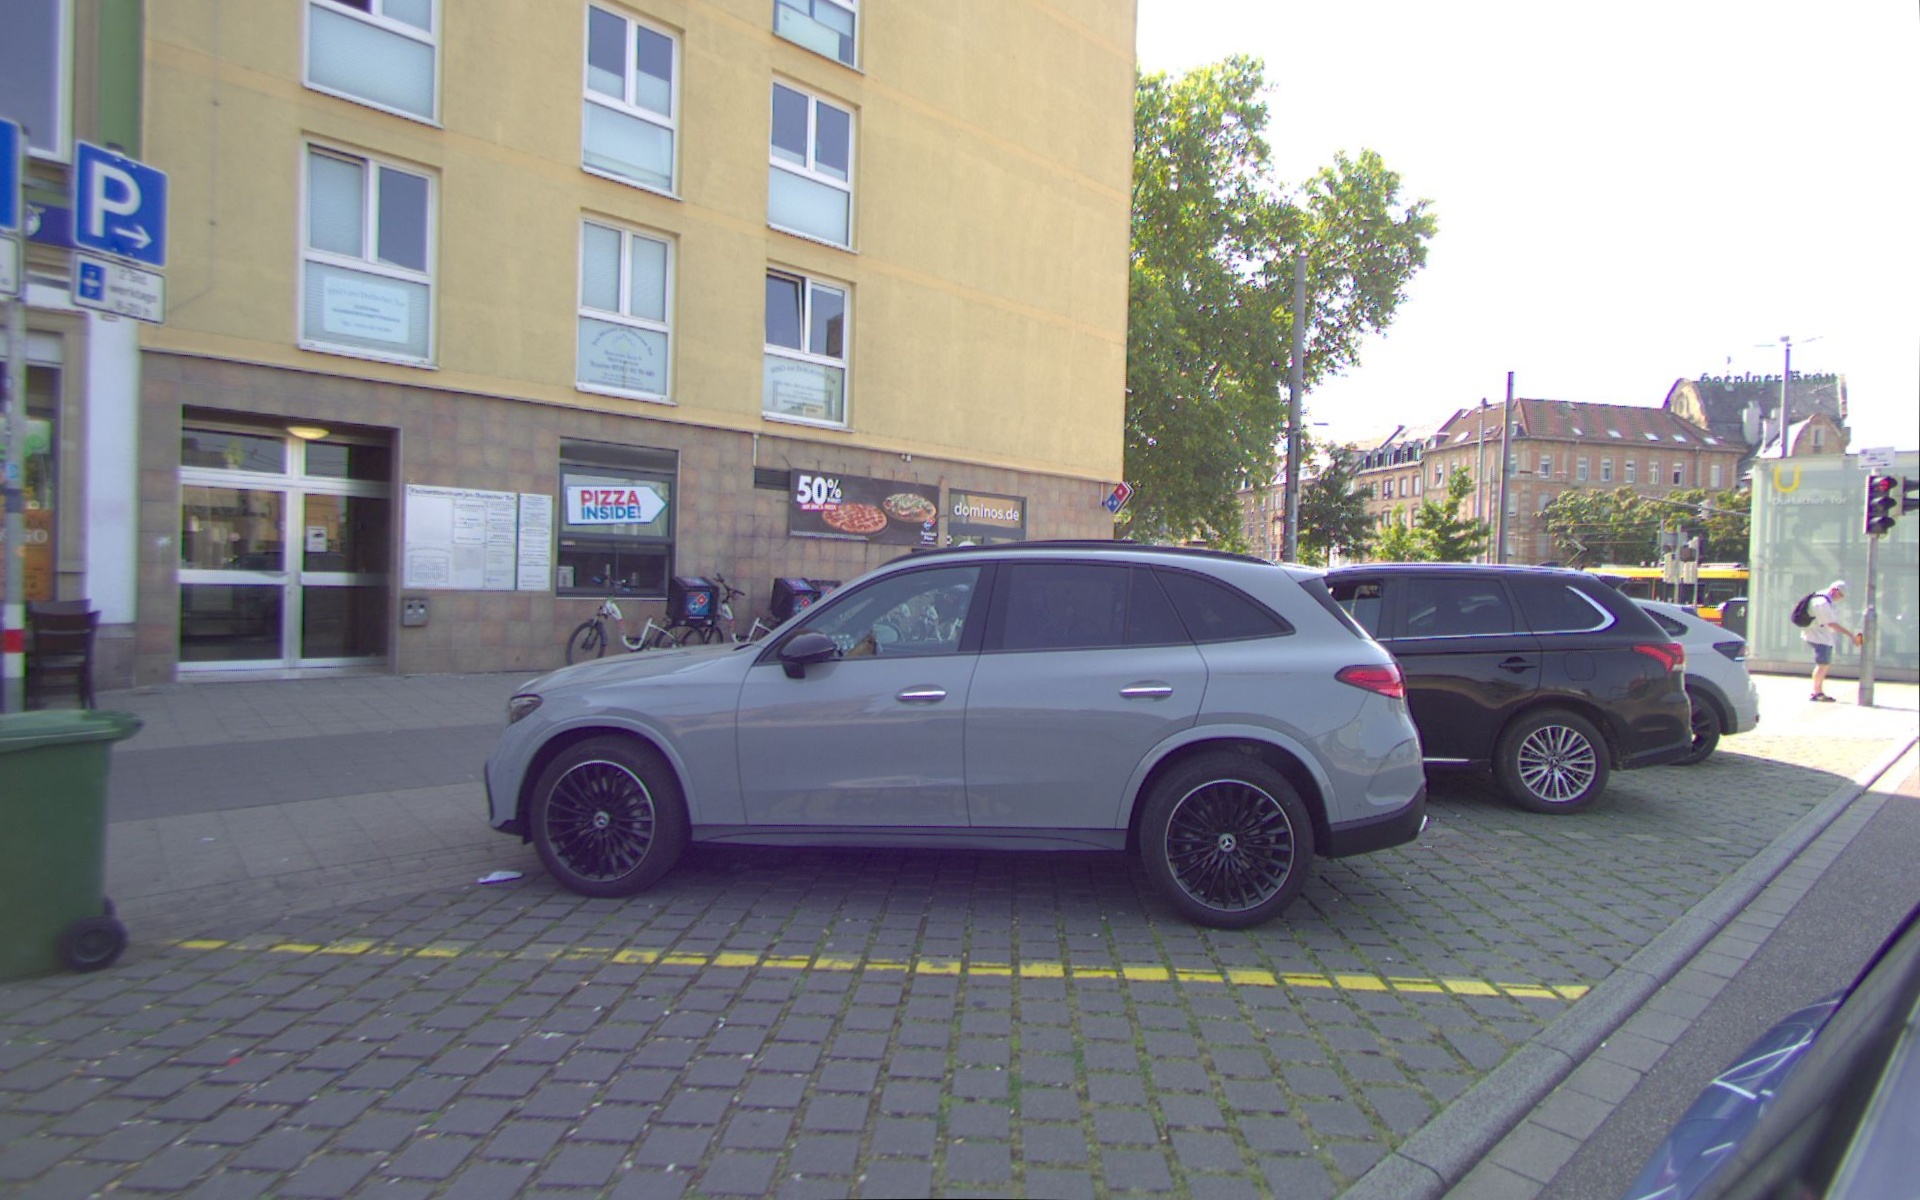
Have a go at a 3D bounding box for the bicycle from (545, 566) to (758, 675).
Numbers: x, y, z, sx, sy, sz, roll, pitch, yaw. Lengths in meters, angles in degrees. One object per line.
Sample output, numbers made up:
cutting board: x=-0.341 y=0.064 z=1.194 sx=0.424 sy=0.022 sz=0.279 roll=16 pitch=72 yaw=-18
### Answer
bicycle: x=-3.869 y=0.241 z=12.806 sx=2.378 sy=1.254 sz=0.941 roll=1 pitch=1 yaw=-39

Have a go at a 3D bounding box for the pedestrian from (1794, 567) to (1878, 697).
pedestrian: x=12.803 y=0.446 z=14.793 sx=0.800 sy=1.831 sz=0.820 roll=1 pitch=0 yaw=-41

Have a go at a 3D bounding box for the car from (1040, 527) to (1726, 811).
car: x=2.830 y=0.400 z=7.722 sx=4.317 sy=1.708 sz=1.983 roll=2 pitch=1 yaw=7

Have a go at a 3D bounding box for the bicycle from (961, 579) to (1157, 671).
bicycle: x=1.739 y=0.397 z=17.716 sx=3.313 sy=1.422 sz=0.901 roll=2 pitch=1 yaw=13

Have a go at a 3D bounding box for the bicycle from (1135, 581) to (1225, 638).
bicycle: x=5.149 y=0.217 z=23.601 sx=2.393 sy=1.254 sz=0.793 roll=1 pitch=1 yaw=-42

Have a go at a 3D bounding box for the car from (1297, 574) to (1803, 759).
car: x=5.334 y=0.562 z=9.643 sx=3.721 sy=1.519 sz=1.803 roll=1 pitch=-1 yaw=8

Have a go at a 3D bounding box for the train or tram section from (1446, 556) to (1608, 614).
train or tram section: x=38.908 y=-1.114 z=70.282 sx=2.542 sy=3.604 sz=12.241 roll=2 pitch=1 yaw=-10

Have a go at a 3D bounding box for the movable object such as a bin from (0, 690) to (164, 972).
movable object such as a bin: x=-3.453 y=0.832 z=3.782 sx=0.688 sy=0.928 sz=0.537 roll=1 pitch=-2 yaw=-45

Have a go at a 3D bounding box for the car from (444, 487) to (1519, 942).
car: x=0.042 y=0.405 z=5.351 sx=4.586 sy=1.735 sz=2.040 roll=2 pitch=1 yaw=7

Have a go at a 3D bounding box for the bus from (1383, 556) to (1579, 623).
bus: x=27.261 y=-0.655 z=54.085 sx=2.678 sy=3.102 sz=12.102 roll=2 pitch=1 yaw=-8

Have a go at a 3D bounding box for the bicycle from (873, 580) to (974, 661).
bicycle: x=-0.571 y=0.322 z=16.387 sx=1.797 sy=1.254 sz=0.409 roll=1 pitch=1 yaw=-45

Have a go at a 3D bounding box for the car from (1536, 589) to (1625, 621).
car: x=32.446 y=0.251 z=53.067 sx=1.595 sy=1.490 sz=3.781 roll=2 pitch=1 yaw=-19

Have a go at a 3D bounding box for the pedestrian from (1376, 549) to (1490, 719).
pedestrian: x=5.043 y=0.337 z=10.864 sx=1.026 sy=1.726 sz=0.897 roll=1 pitch=0 yaw=22

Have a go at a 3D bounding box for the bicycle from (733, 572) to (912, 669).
bicycle: x=-1.935 y=0.277 z=14.489 sx=2.378 sy=1.254 sz=0.941 roll=1 pitch=1 yaw=-39

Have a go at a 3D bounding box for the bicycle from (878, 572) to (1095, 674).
bicycle: x=0.428 y=0.325 z=16.085 sx=3.313 sy=1.422 sz=0.901 roll=2 pitch=1 yaw=13

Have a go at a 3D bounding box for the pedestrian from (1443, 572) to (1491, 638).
pedestrian: x=13.032 y=0.120 z=26.015 sx=0.934 sy=1.628 sz=0.791 roll=0 pitch=2 yaw=-45

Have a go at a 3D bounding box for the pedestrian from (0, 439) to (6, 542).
pedestrian: x=-2.912 y=0.404 z=2.311 sx=0.856 sy=1.774 sz=0.868 roll=2 pitch=-3 yaw=-34

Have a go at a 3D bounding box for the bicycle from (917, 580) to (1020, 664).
bicycle: x=0.131 y=0.341 z=16.044 sx=1.513 sy=1.254 sz=0.593 roll=2 pitch=1 yaw=-9

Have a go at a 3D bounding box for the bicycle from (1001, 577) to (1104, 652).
bicycle: x=1.683 y=0.247 z=18.213 sx=1.927 sy=1.262 sz=0.729 roll=1 pitch=1 yaw=-43

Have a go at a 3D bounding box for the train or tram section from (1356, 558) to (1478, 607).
train or tram section: x=36.843 y=-1.506 z=82.344 sx=2.542 sy=3.604 sz=12.241 roll=2 pitch=1 yaw=-10

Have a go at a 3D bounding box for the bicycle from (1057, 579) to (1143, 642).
bicycle: x=2.911 y=0.202 z=21.096 sx=1.721 sy=1.221 sz=0.580 roll=3 pitch=1 yaw=42

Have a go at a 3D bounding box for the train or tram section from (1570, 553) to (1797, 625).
train or tram section: x=40.969 y=-0.742 z=58.229 sx=2.542 sy=3.604 sz=12.241 roll=2 pitch=1 yaw=-10
